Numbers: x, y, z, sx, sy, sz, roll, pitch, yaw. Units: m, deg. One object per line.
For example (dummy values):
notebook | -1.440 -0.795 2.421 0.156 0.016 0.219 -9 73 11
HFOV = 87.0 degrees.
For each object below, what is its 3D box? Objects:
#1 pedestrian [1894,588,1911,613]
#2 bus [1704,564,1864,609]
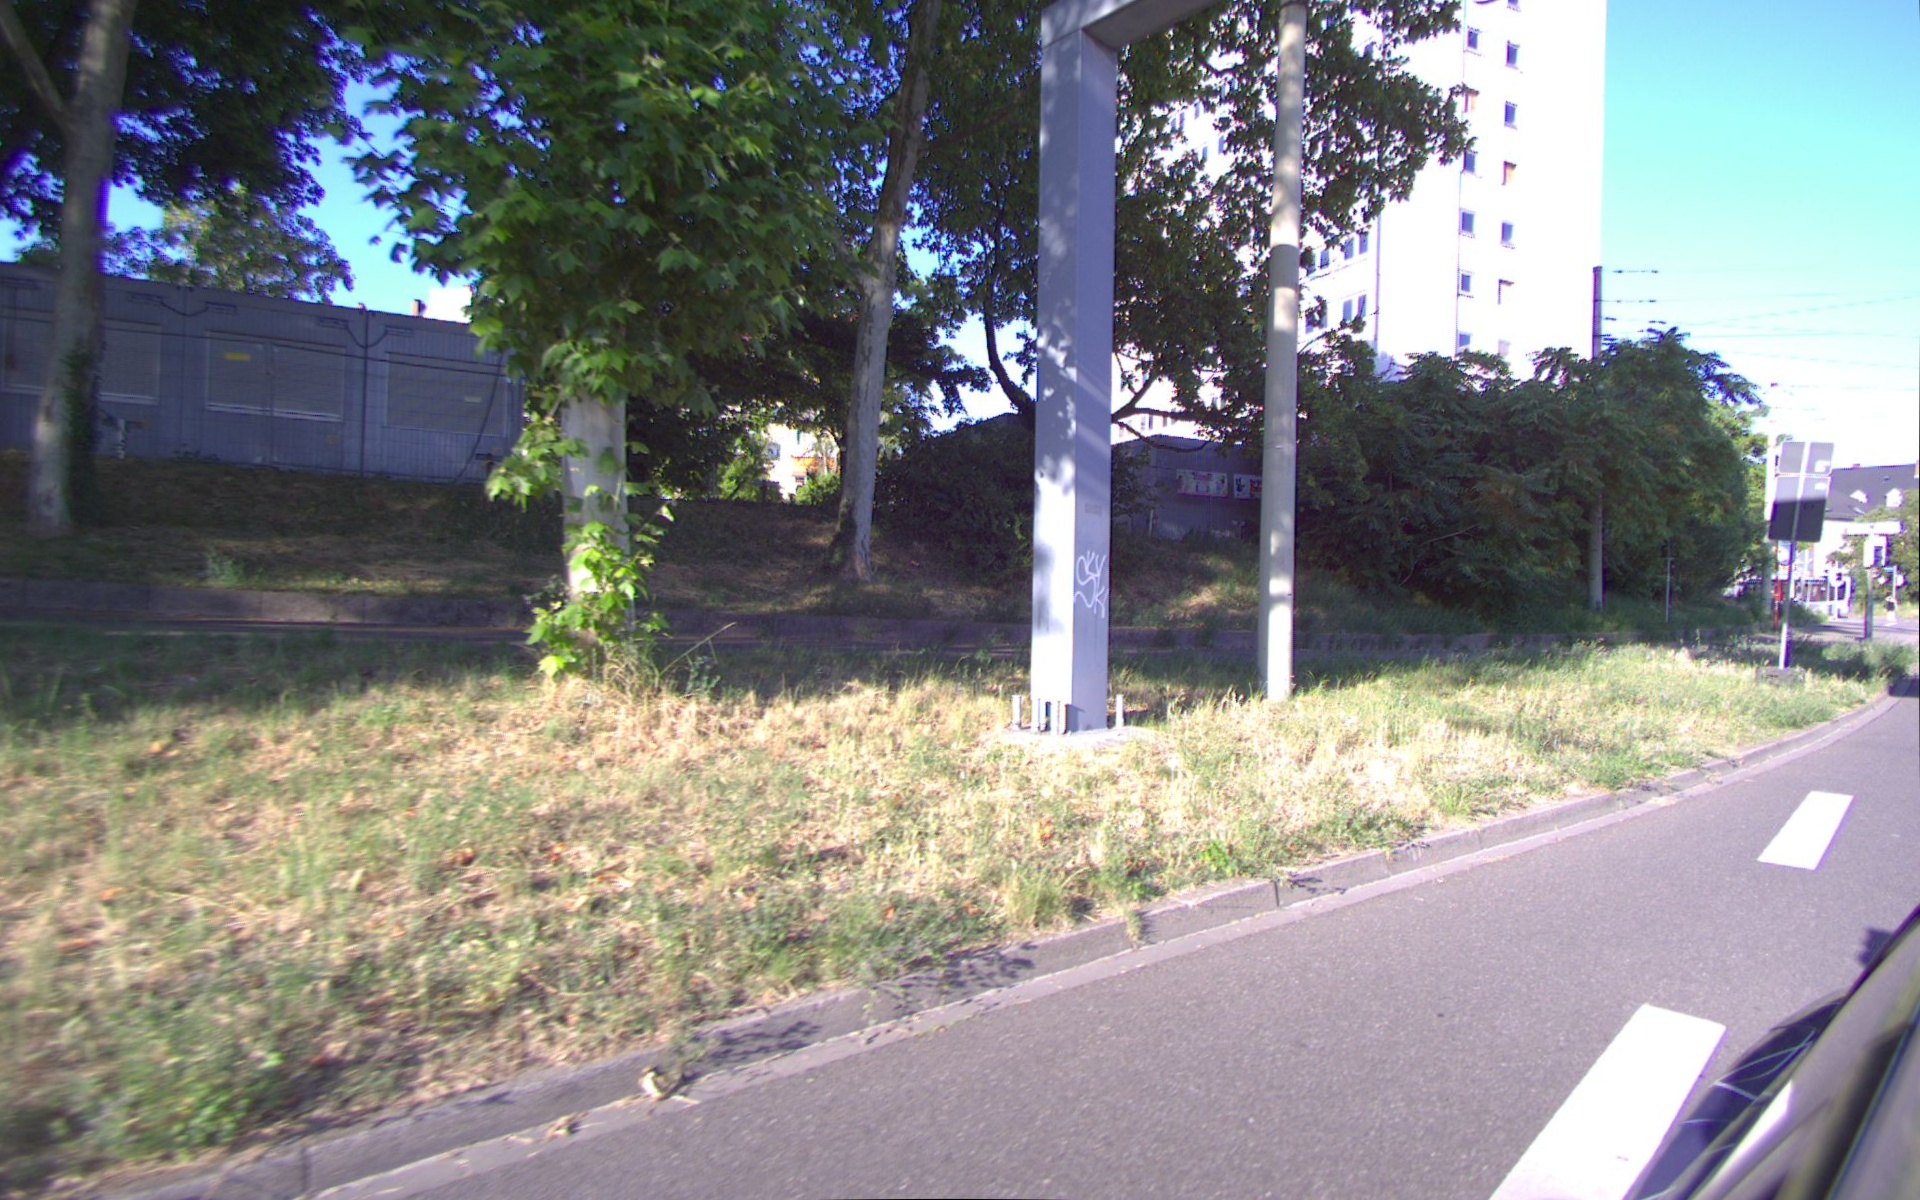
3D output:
pedestrian | 60.563 0.020 65.039 0.535 1.615 0.595 1 1 -8
bus | 61.078 -1.041 75.238 8.743 3.063 2.598 1 1 19
